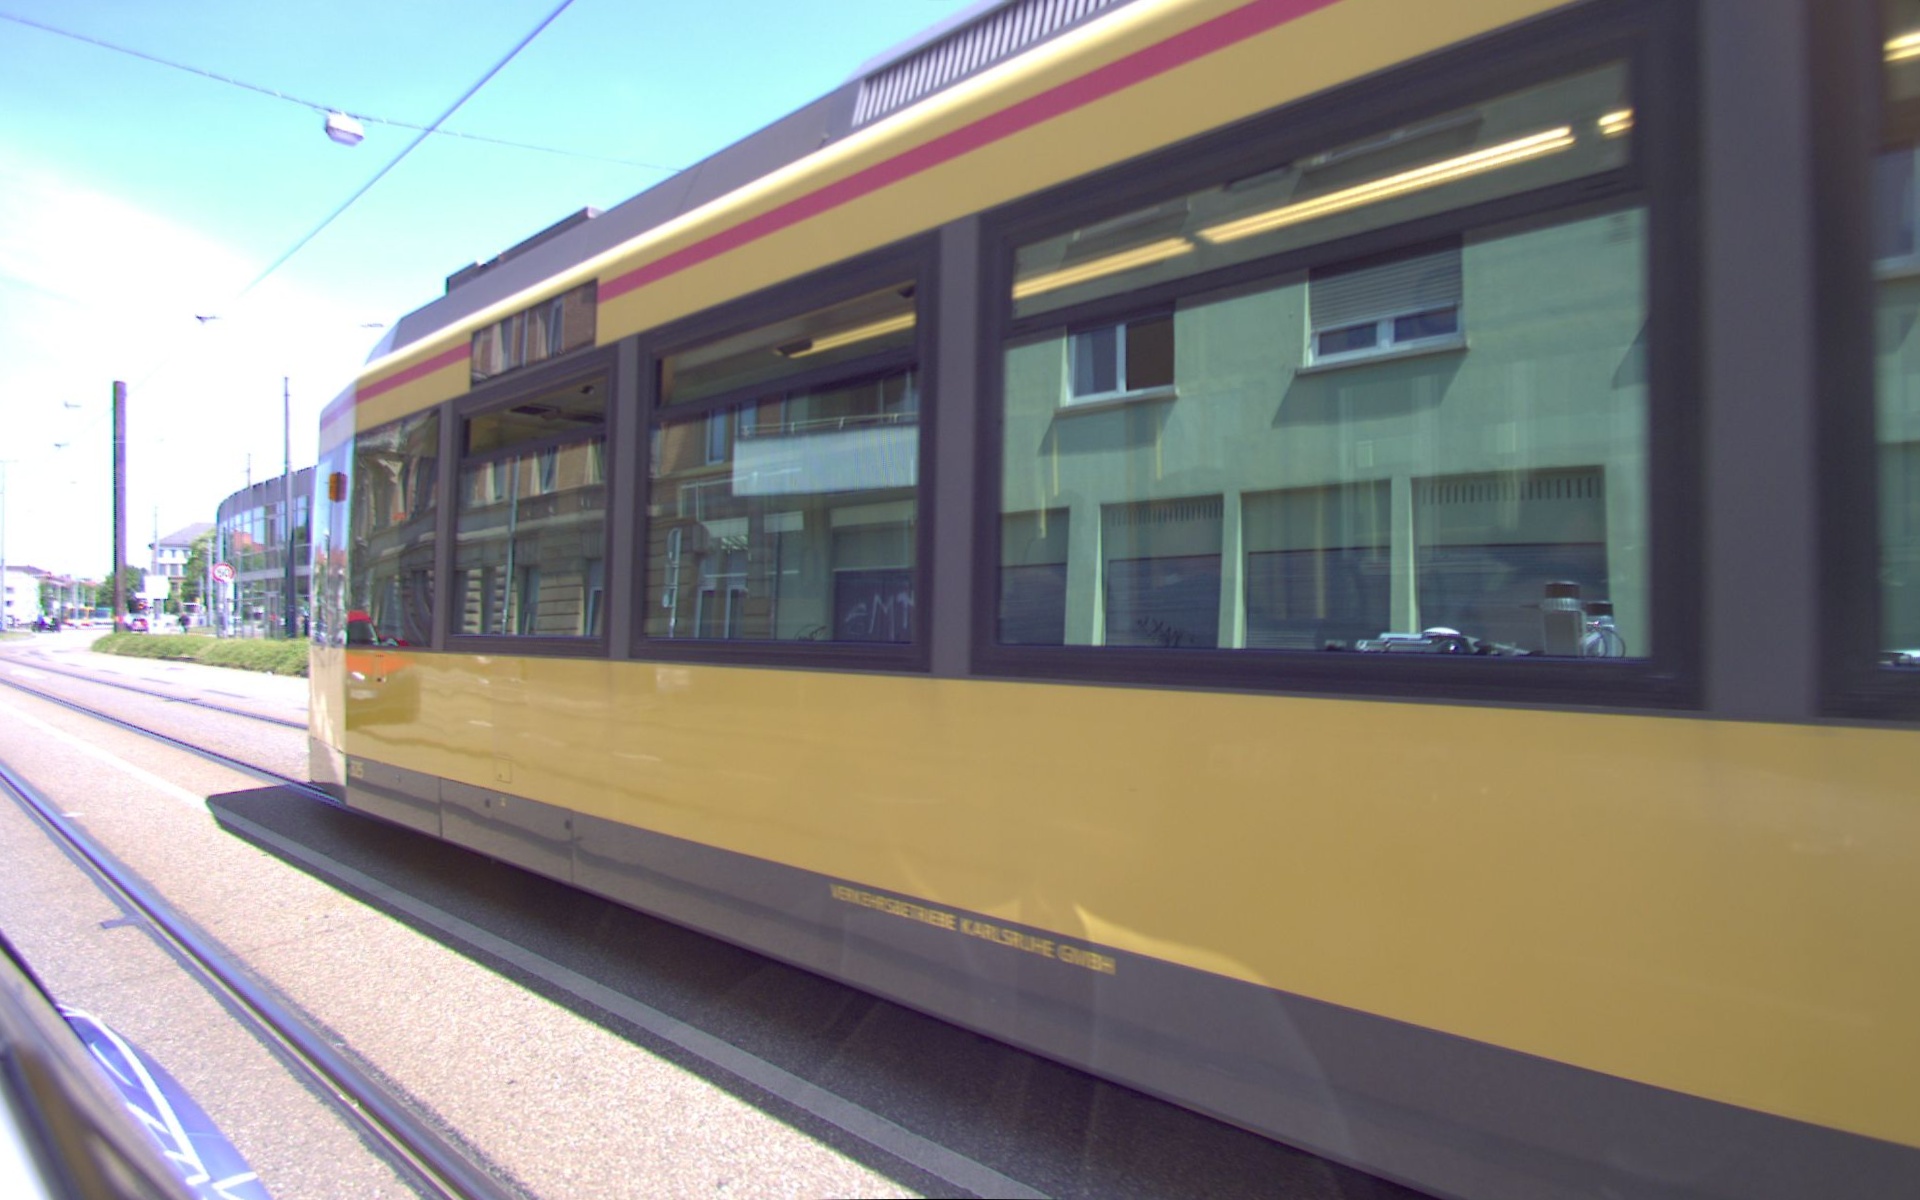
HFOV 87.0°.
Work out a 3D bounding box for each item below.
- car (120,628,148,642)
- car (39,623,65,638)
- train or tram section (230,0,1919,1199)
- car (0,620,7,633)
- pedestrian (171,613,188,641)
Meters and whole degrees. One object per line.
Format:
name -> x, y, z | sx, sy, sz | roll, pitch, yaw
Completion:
car -> -85.310, 3.612, 104.539 | 4.289, 1.377, 1.738 | -1, -1, 43
car -> -97.775, 3.267, 108.952 | 4.527, 1.639, 1.801 | -1, -2, 45
train or tram section -> 0.717, -0.421, 4.002 | 13.416, 3.607, 2.930 | -1, -1, 41
car -> -117.944, 3.168, 123.437 | 5.130, 1.542, 1.972 | -1, -2, 42
pedestrian -> -46.198, 1.580, 59.882 | 0.719, 1.654, 0.821 | 0, -1, -45
